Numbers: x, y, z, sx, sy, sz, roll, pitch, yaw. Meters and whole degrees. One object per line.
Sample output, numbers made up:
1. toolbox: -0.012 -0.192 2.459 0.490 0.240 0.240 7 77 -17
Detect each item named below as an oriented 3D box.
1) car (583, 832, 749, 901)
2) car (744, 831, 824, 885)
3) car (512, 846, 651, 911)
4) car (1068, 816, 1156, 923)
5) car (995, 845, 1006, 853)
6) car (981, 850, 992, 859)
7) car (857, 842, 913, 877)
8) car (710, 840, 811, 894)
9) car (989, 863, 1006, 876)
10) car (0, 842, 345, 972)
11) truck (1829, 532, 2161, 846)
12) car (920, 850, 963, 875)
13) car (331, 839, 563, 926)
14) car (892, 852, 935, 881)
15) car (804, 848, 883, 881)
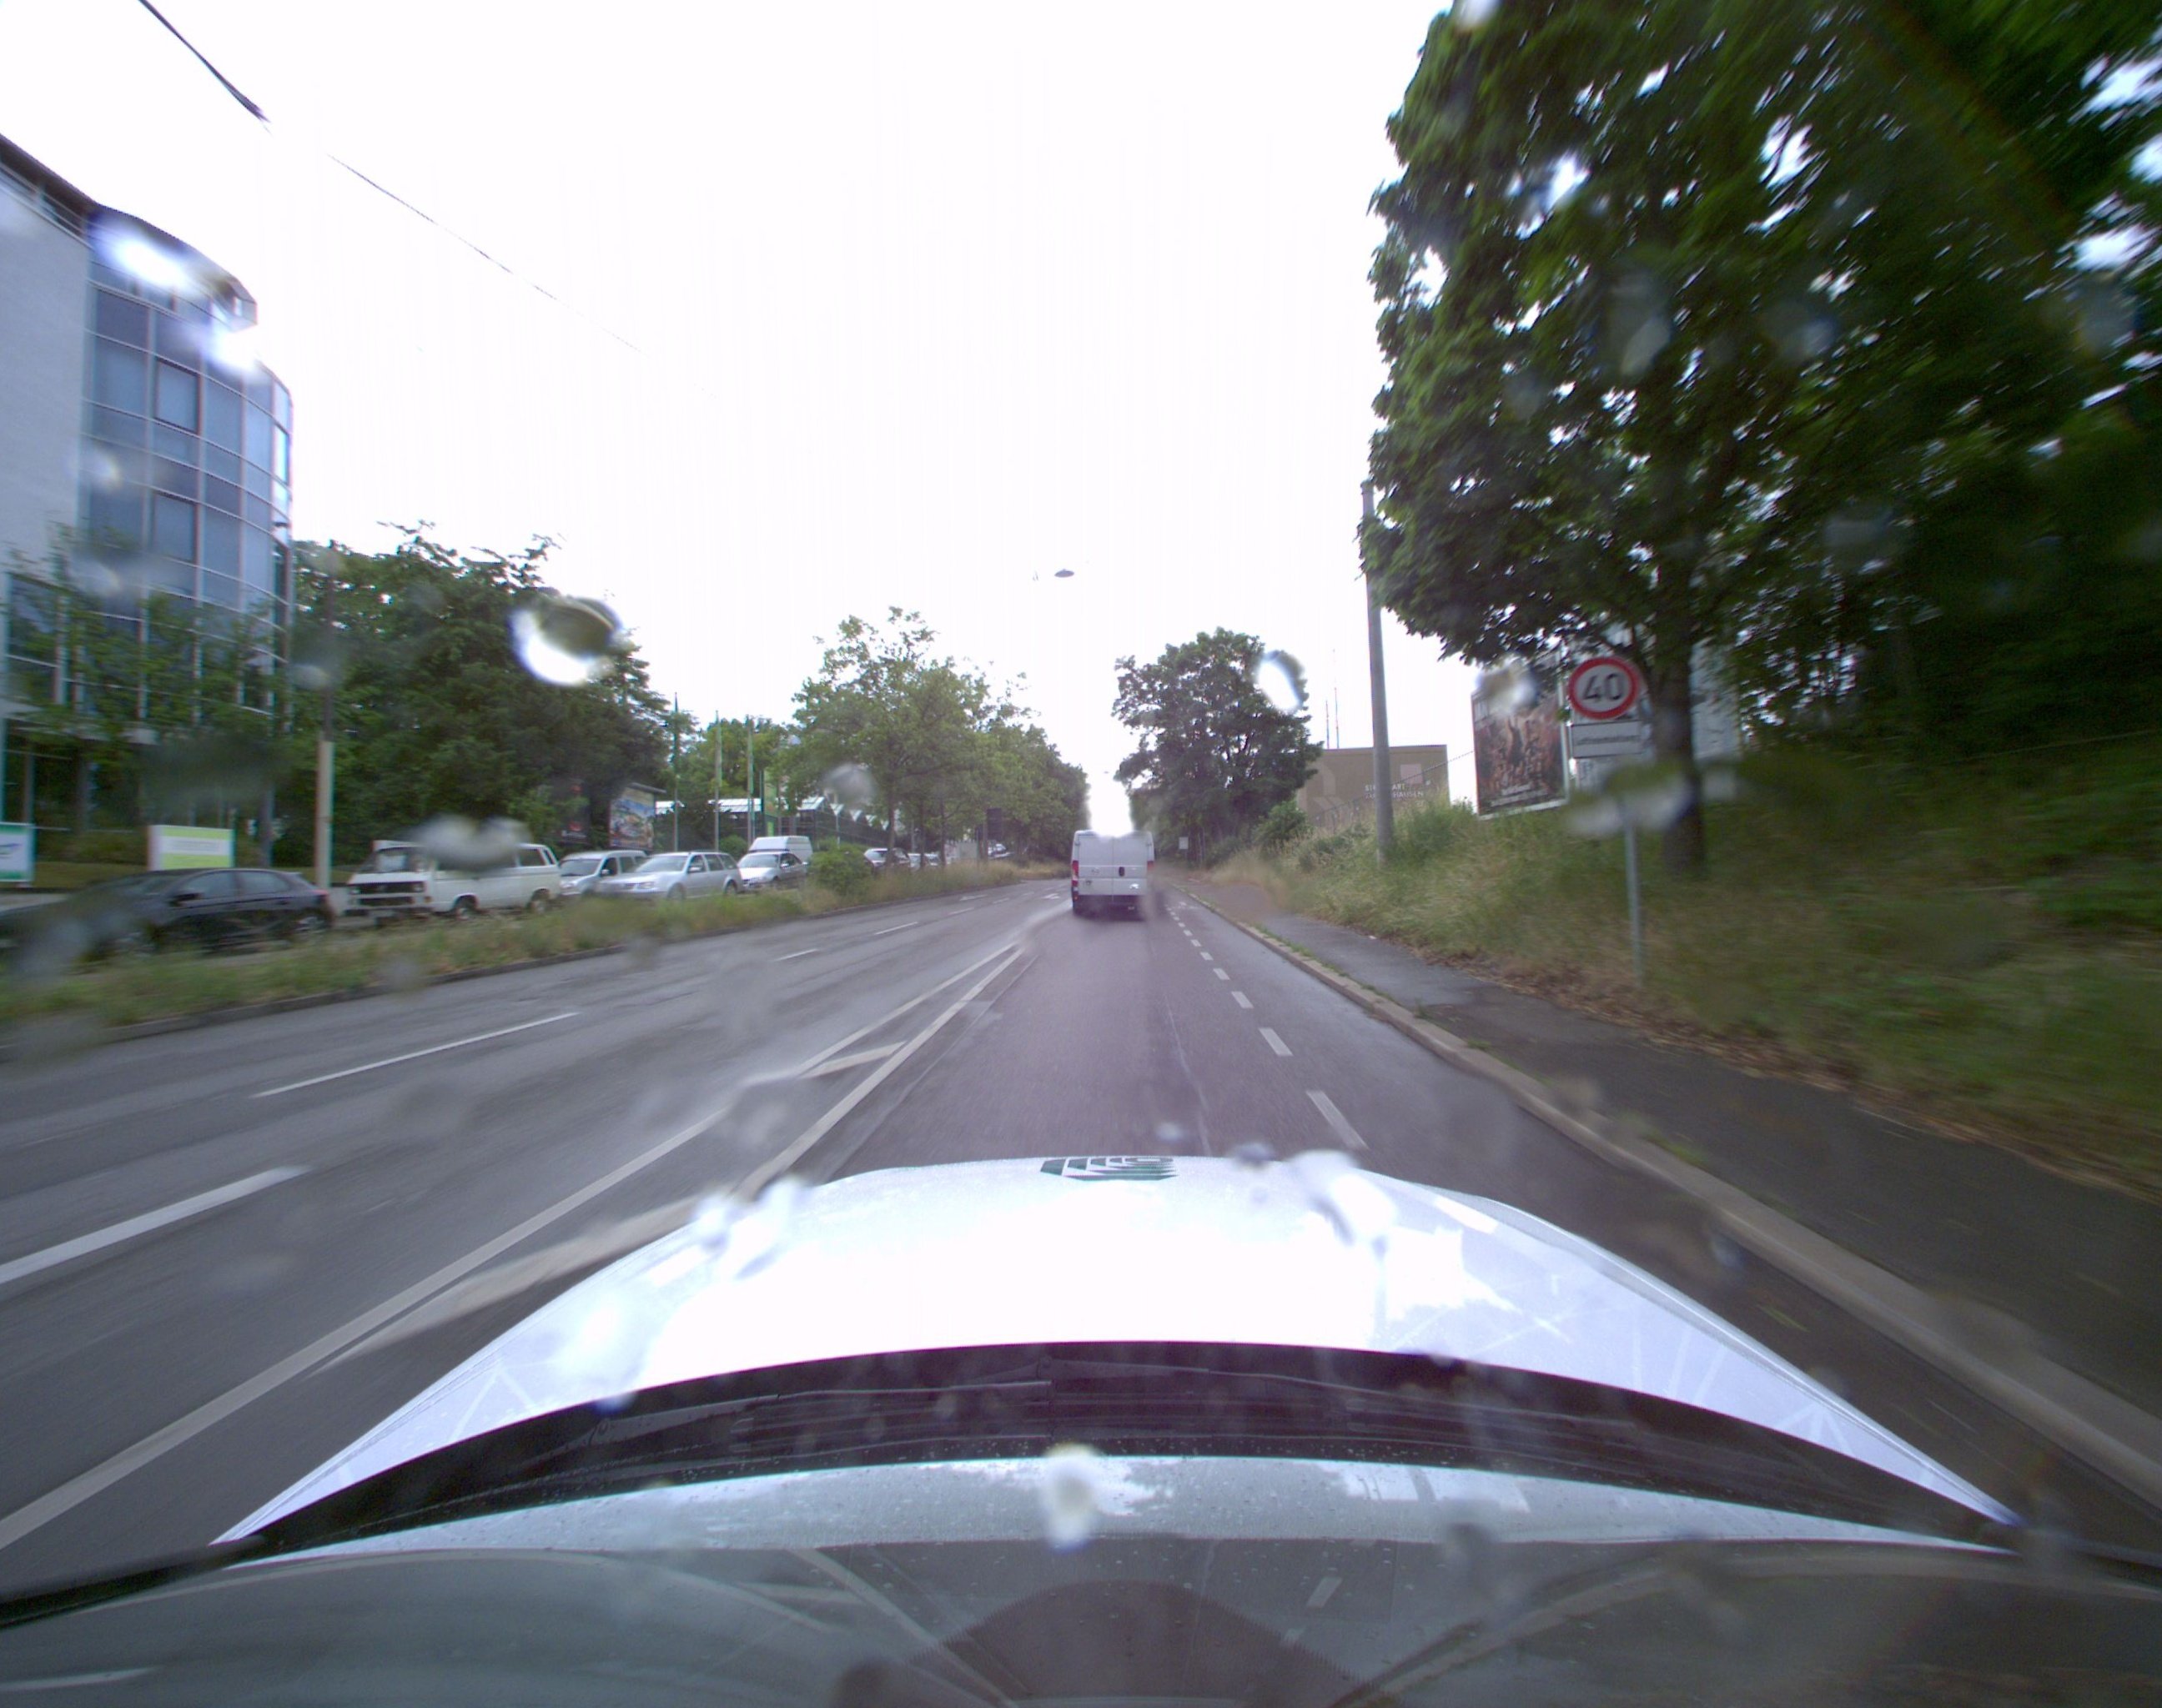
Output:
1. car: -10.146 0.270 20.344 1.640 1.478 4.447 -2 0 3
2. car: -14.804 0.169 40.946 1.957 2.443 5.653 -2 0 -1
3. car: -14.371 0.651 23.698 1.586 1.695 3.782 -2 0 1
4. car: 0.804 0.346 21.978 2.043 2.516 4.945 2 0 1
5. car: -13.980 -0.877 141.287 1.594 1.250 2.909 -2 -3 -1
6. car: -14.489 0.064 124.866 1.208 1.133 2.453 -2 -3 2
7. car: -9.150 0.287 38.291 1.647 1.452 3.646 -2 -3 2
8. car: -10.116 0.356 26.016 1.586 1.540 3.992 -2 0 0
9. car: -7.879 1.515 76.958 1.346 1.131 2.752 -2 -3 0
10. car: -14.334 0.706 12.895 1.604 1.721 3.995 -2 0 1
11. truck: 11.407 -1.653 8.273 2.275 2.651 6.056 4 -2 3
12. car: -8.227 0.533 48.423 1.531 1.293 4.548 -2 -3 3
13. car: -14.665 0.578 19.255 1.764 1.746 4.585 -2 0 1
14. car: -8.826 0.711 43.160 1.355 1.395 3.708 -2 -3 2
15. car: -9.512 0.421 32.939 1.690 1.205 4.222 -2 0 3
